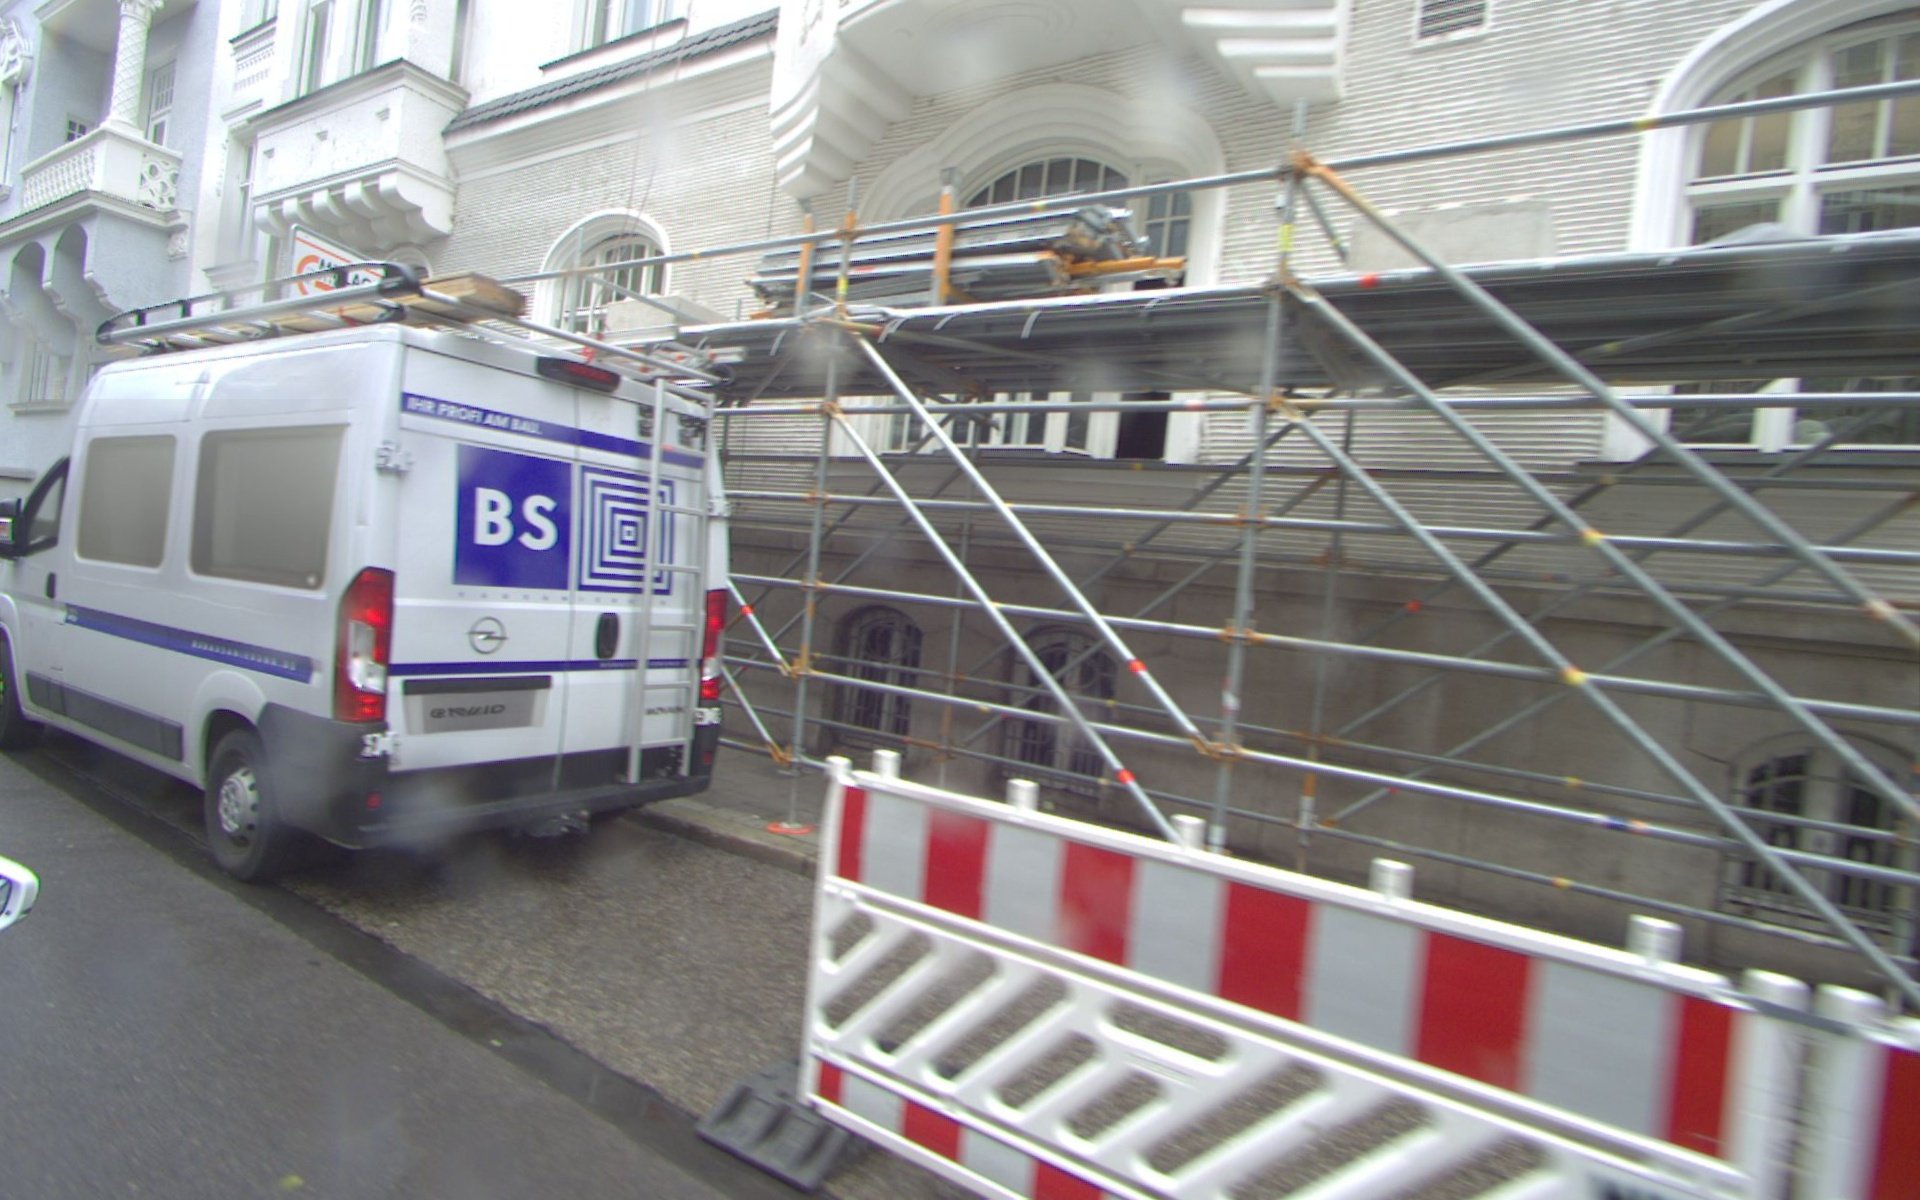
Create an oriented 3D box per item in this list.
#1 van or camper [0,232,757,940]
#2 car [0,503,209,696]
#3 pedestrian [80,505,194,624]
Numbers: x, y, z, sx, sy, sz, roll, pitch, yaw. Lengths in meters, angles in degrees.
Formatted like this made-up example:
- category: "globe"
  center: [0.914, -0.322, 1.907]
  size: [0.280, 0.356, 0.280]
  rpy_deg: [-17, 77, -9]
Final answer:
- category: "van or camper"
  center: [-3.996, -0.218, 6.046]
  size: [5.369, 2.669, 1.955]
  rpy_deg: [6, 0, 32]
- category: "car"
  center: [-8.749, -0.152, 9.026]
  size: [4.019, 1.452, 1.756]
  rpy_deg: [6, 0, 31]
- category: "pedestrian"
  center: [-11.580, -0.487, 14.160]
  size: [1.000, 1.575, 0.920]
  rpy_deg: [5, 1, 32]
